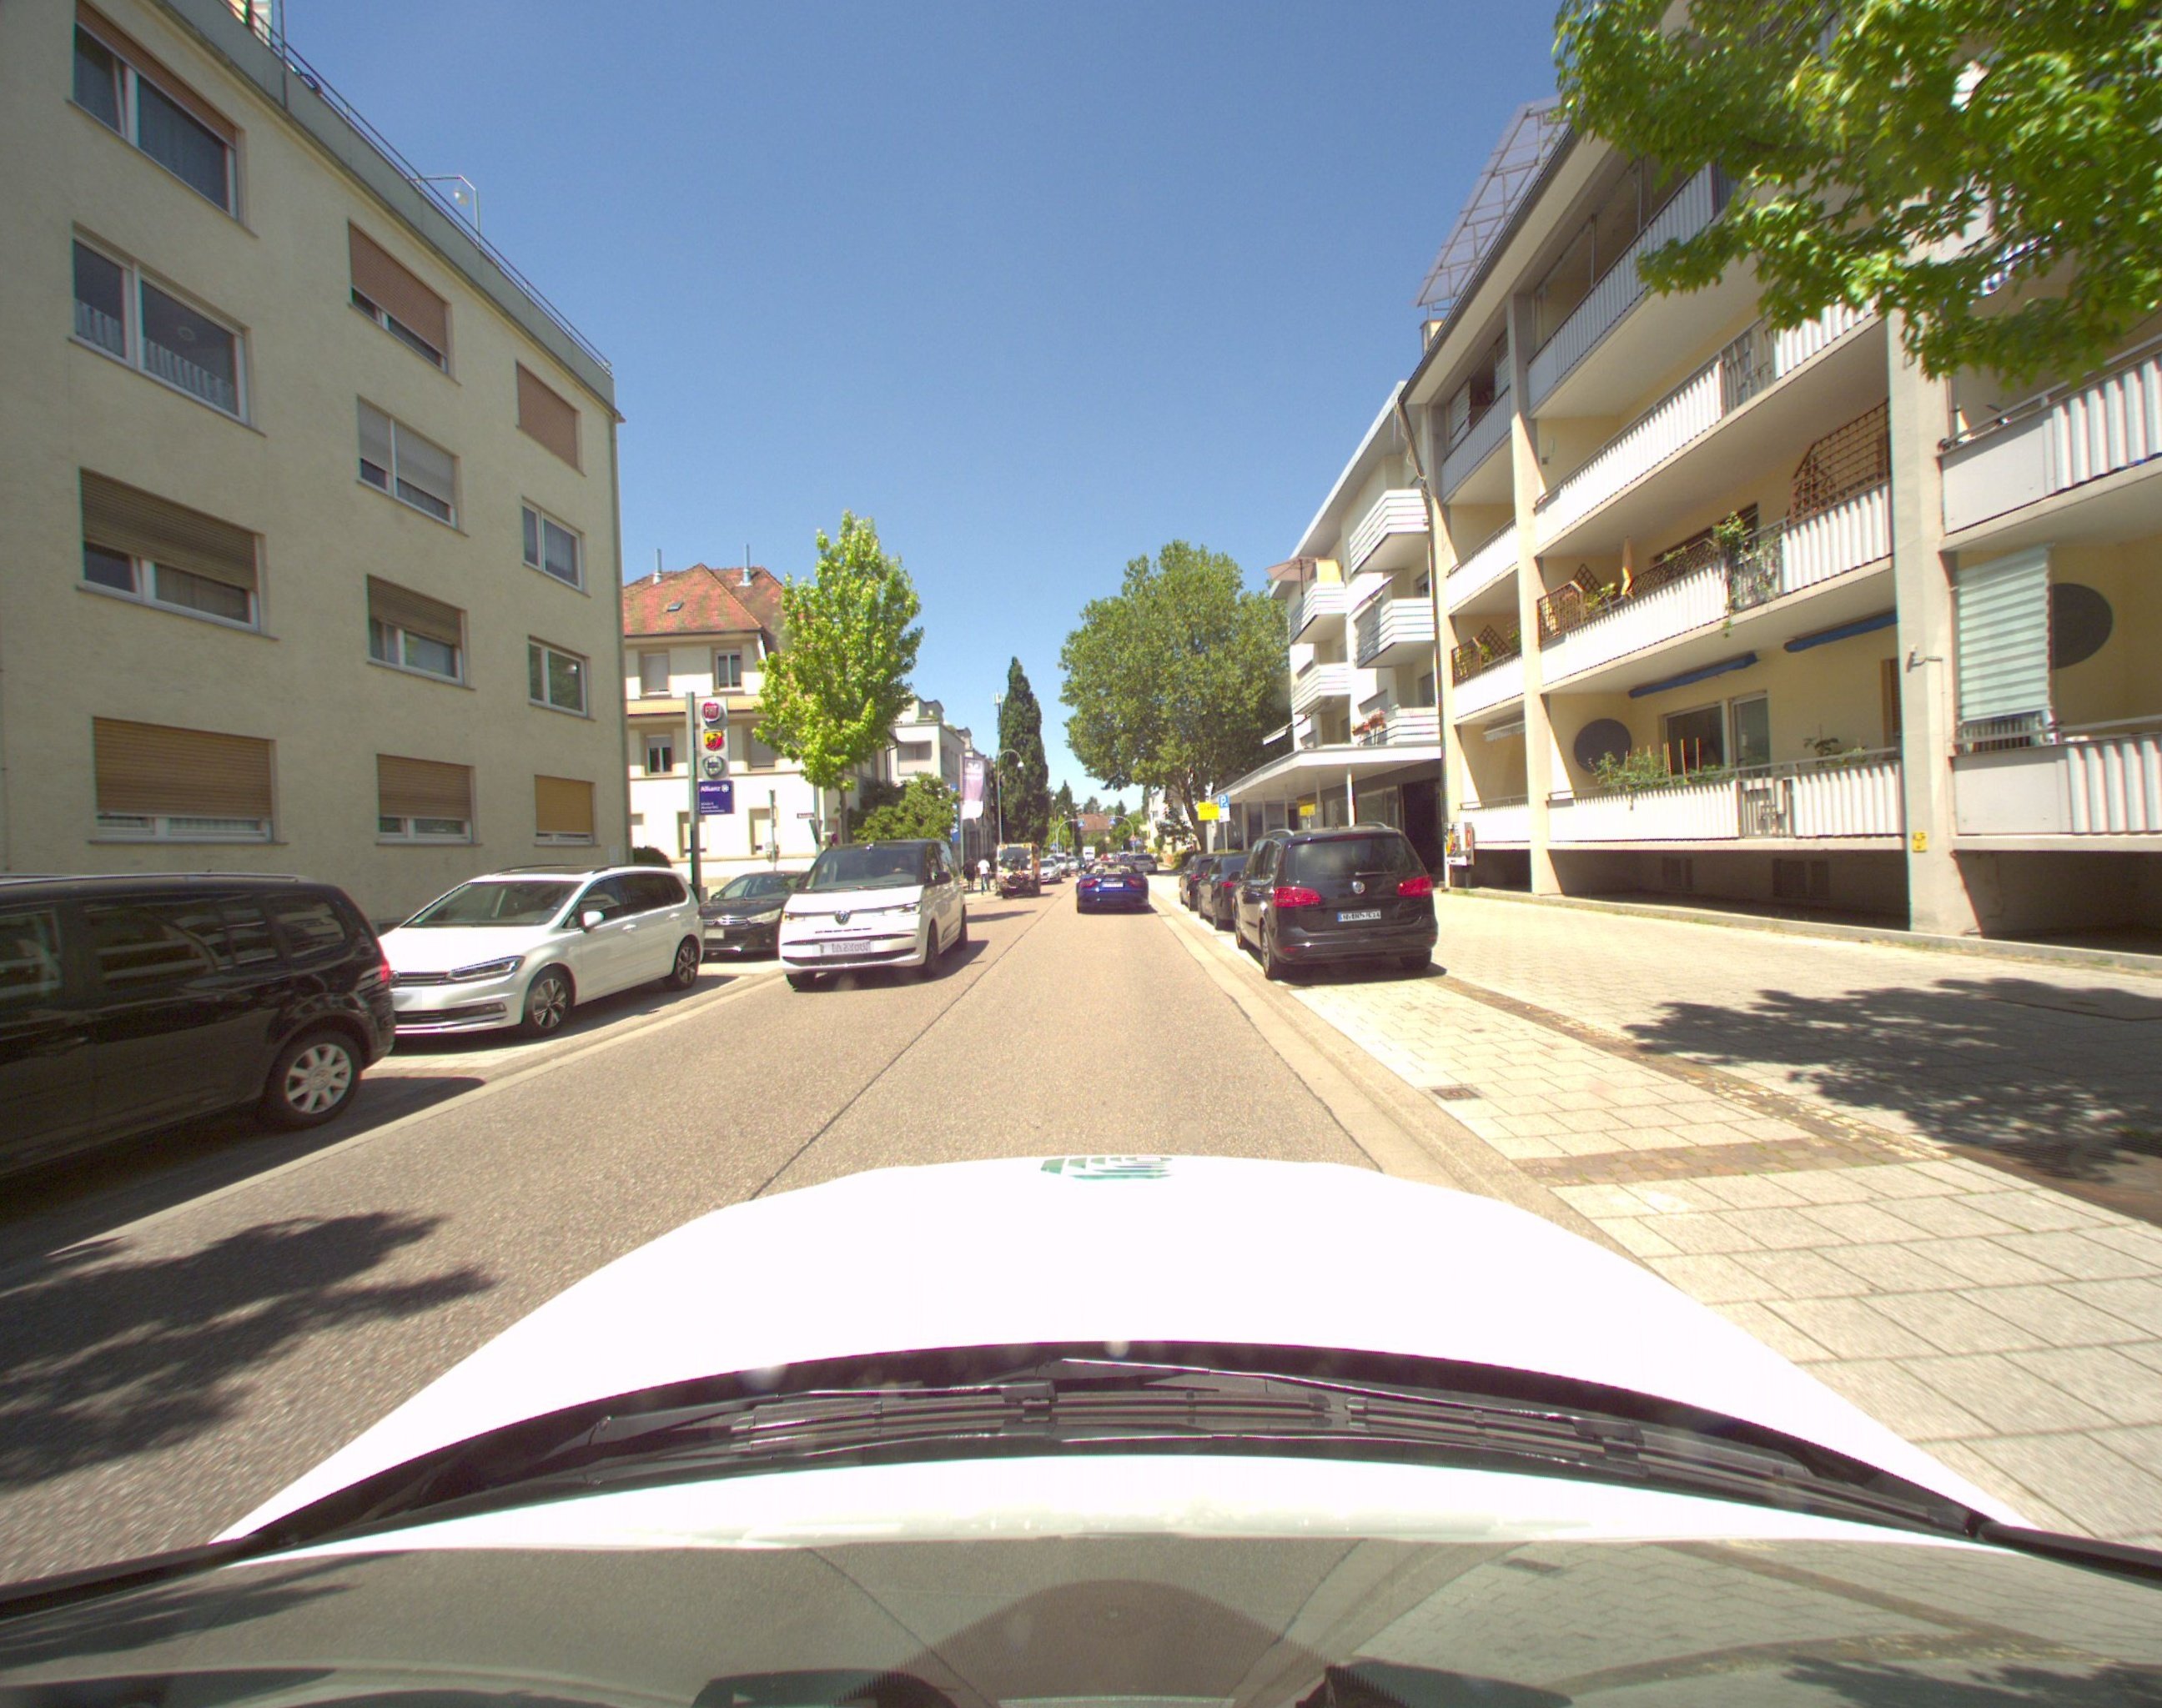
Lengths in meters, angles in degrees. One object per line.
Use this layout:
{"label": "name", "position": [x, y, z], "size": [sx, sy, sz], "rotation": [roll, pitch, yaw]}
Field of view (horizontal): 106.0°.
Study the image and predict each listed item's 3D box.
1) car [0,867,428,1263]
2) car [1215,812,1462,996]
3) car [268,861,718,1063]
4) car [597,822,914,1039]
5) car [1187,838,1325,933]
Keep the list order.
{"label": "car", "position": [-5.737, 0.974, 3.856], "size": [1.723, 1.740, 4.392], "rotation": [0, 0, 0]}
{"label": "car", "position": [3.073, 0.465, 10.824], "size": [1.985, 1.798, 4.574], "rotation": [-4, 1, 4]}
{"label": "car", "position": [-6.012, 0.942, 9.174], "size": [1.818, 1.619, 4.392], "rotation": [-1, 0, 0]}
{"label": "car", "position": [-3.598, 0.739, 10.193], "size": [1.901, 1.922, 4.904], "rotation": [-4, 0, -1]}
{"label": "car", "position": [3.385, 0.577, 16.652], "size": [1.887, 1.530, 4.571], "rotation": [-4, -1, 2]}
